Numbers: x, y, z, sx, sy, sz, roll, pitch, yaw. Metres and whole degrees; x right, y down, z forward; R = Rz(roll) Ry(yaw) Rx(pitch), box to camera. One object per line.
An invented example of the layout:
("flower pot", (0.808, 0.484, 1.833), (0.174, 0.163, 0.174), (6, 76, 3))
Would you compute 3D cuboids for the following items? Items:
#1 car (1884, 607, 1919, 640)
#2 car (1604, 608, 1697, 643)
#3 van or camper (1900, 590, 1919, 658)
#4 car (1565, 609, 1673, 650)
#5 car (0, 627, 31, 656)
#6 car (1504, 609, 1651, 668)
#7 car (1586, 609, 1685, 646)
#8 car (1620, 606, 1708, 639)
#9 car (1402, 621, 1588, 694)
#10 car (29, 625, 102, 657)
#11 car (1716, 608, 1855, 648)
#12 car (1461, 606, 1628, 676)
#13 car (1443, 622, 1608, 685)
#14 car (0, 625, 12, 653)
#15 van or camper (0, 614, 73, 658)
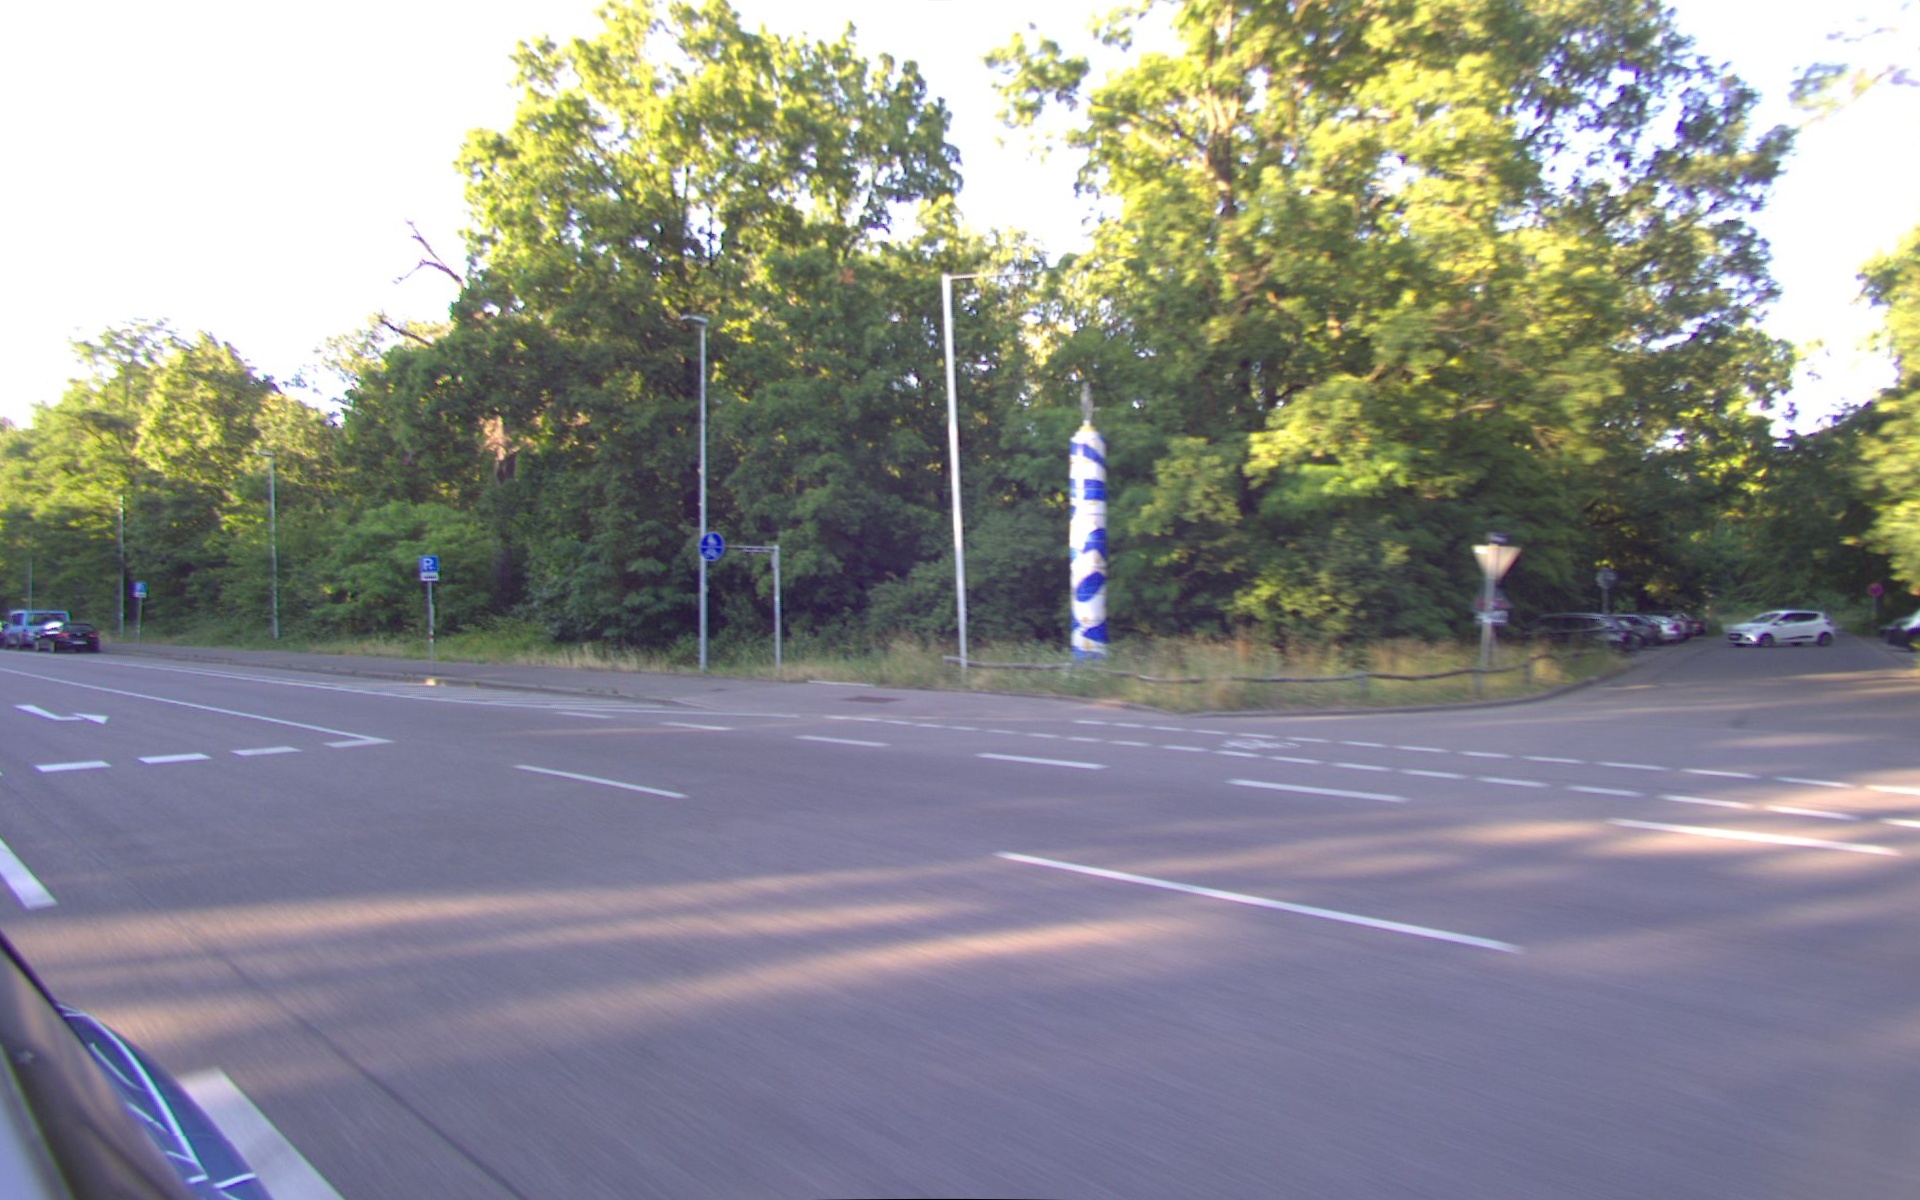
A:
("car", (45.466, 1.070, 47.005), (1.582, 1.518, 3.676), (0, -1, -43))
("car", (34.873, 1.273, 51.154), (3.671, 1.698, 1.726), (-1, -1, 41))
("van or camper", (36.676, 0.811, 35.597), (5.088, 2.394, 1.974), (-2, 0, 39))
("car", (28.189, 1.239, 43.328), (3.671, 1.698, 1.726), (-1, -1, 41))
("car", (-51.922, 2.236, 54.782), (3.962, 1.505, 1.529), (-1, -3, 35))
("car", (19.187, 1.169, 31.507), (3.671, 1.698, 1.726), (-1, -1, 41))
("car", (31.749, 1.280, 47.610), (3.671, 1.698, 1.726), (-1, -1, 41))
("car", (37.543, 1.189, 54.012), (3.671, 1.698, 1.726), (-1, -1, 41))
("car", (11.892, 1.228, 22.602), (3.343, 1.463, 1.725), (-1, -1, 43))
("car", (-42.821, 1.955, 48.418), (4.234, 1.473, 1.672), (-1, -3, 35))
("car", (34.228, 1.158, 42.064), (4.081, 1.599, 1.799), (-1, -1, 8))
("car", (15.980, 1.080, 27.770), (3.672, 1.797, 1.725), (-1, -1, 43))
("car", (14.281, 1.296, 25.625), (3.343, 1.463, 1.725), (-1, -1, 43))
("car", (-56.088, 2.236, 58.101), (4.031, 1.546, 1.602), (-1, -3, 36))
("van or camper", (-47.371, 1.841, 51.724), (5.005, 2.110, 2.013), (-1, -3, 37))
